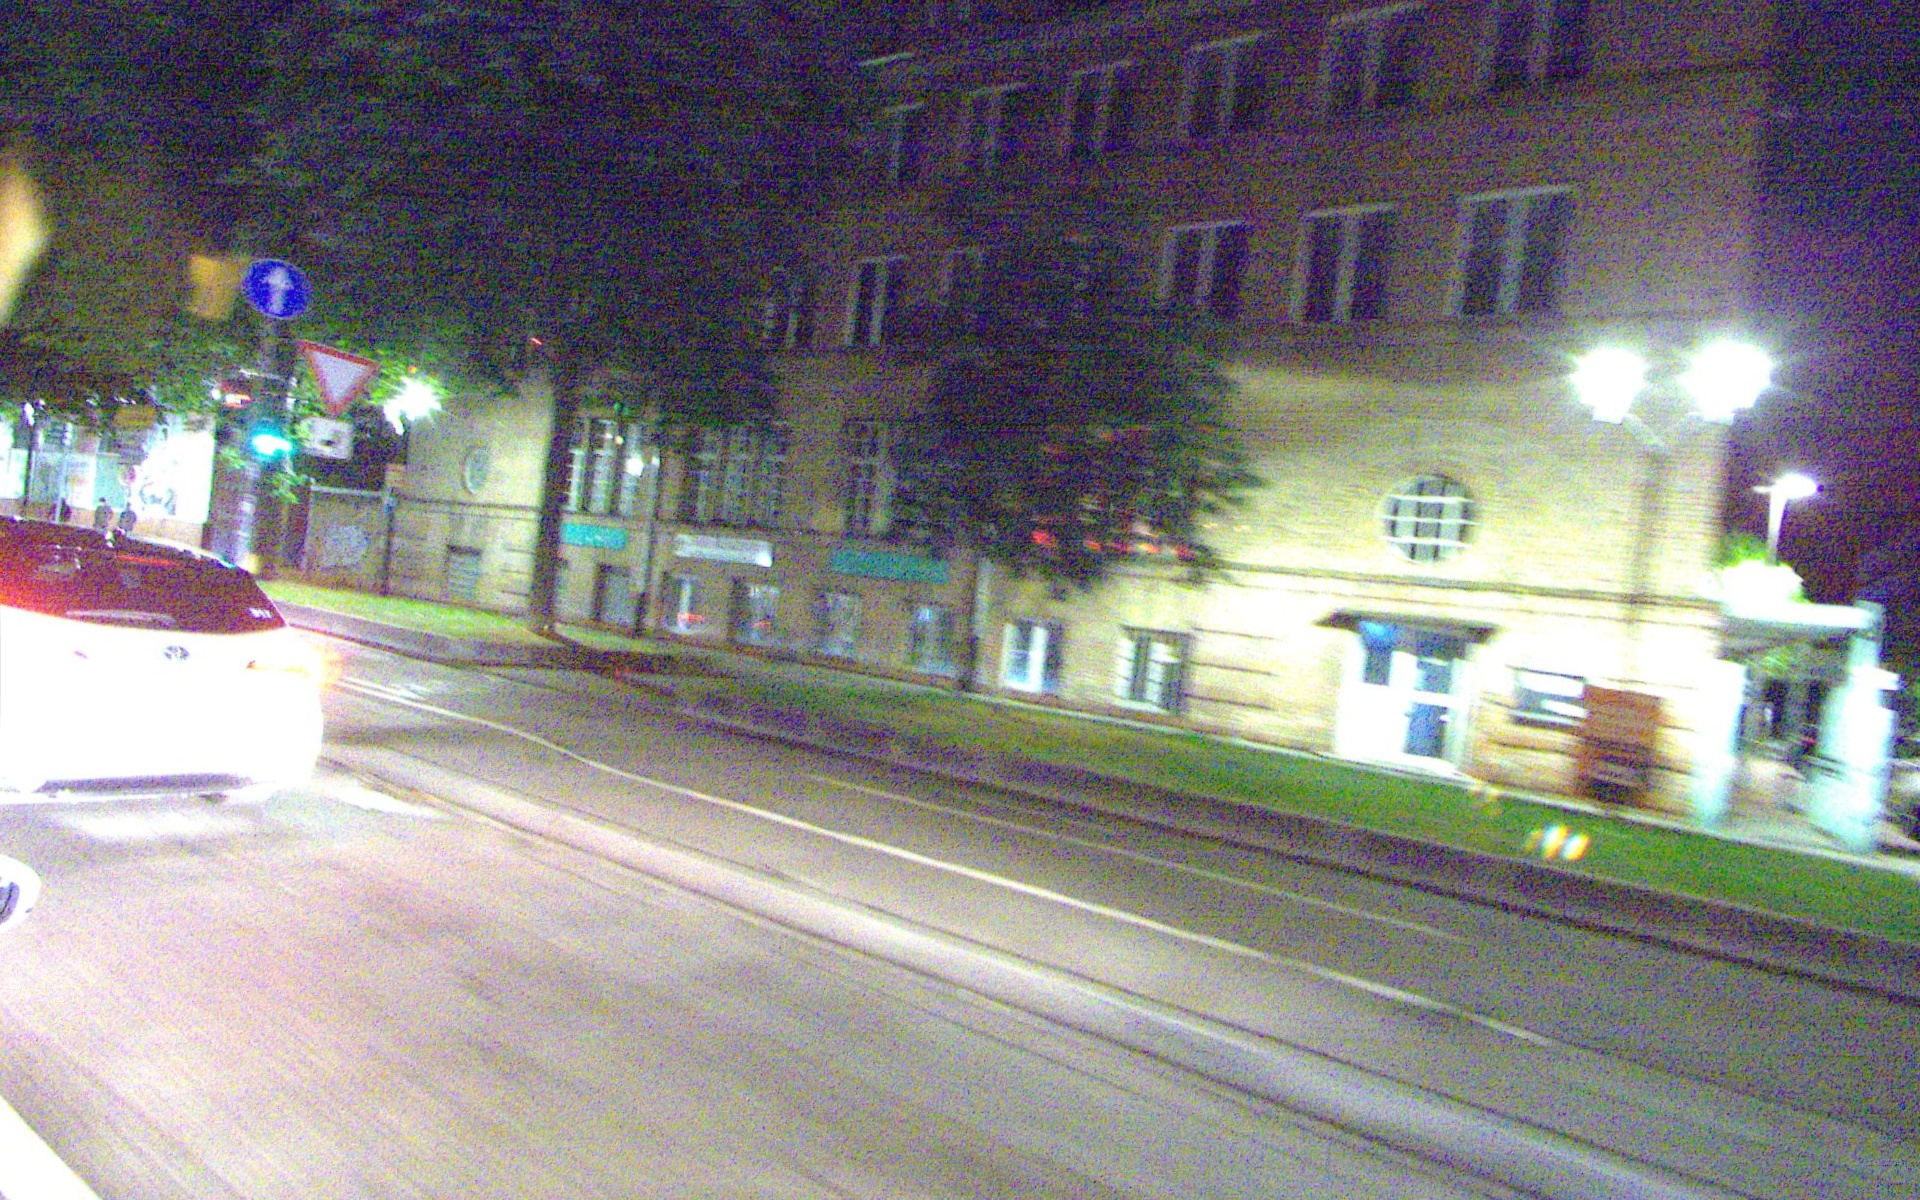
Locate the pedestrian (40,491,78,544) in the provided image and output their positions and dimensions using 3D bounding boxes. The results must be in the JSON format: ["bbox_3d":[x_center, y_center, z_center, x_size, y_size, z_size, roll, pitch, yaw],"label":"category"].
[{"bbox_3d":[-32.889,-3.004,36.721,0.892,1.791,0.715,7,1,32],"label":"pedestrian"}]

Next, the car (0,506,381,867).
[{"bbox_3d":[-5.329,0.213,5.586,4.140,1.451,1.734,7,-2,31],"label":"car"}]

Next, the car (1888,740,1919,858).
[{"bbox_3d":[14.317,2.830,12.017,4.408,1.413,1.514,8,1,33],"label":"car"}]

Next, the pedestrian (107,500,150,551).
[{"bbox_3d":[-31.936,-2.873,38.645,0.892,1.791,0.902,7,1,32],"label":"pedestrian"}]

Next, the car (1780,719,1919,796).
[{"bbox_3d":[23.399,4.035,25.088,4.170,1.446,1.996,7,-1,31],"label":"car"}]

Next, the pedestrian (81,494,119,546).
[{"bbox_3d":[-32.121,-2.984,37.578,0.892,1.791,0.739,7,1,32],"label":"pedestrian"}]

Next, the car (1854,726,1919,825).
[{"bbox_3d":[18.126,3.269,17.140,3.934,1.552,1.784,7,0,32],"label":"car"}]
